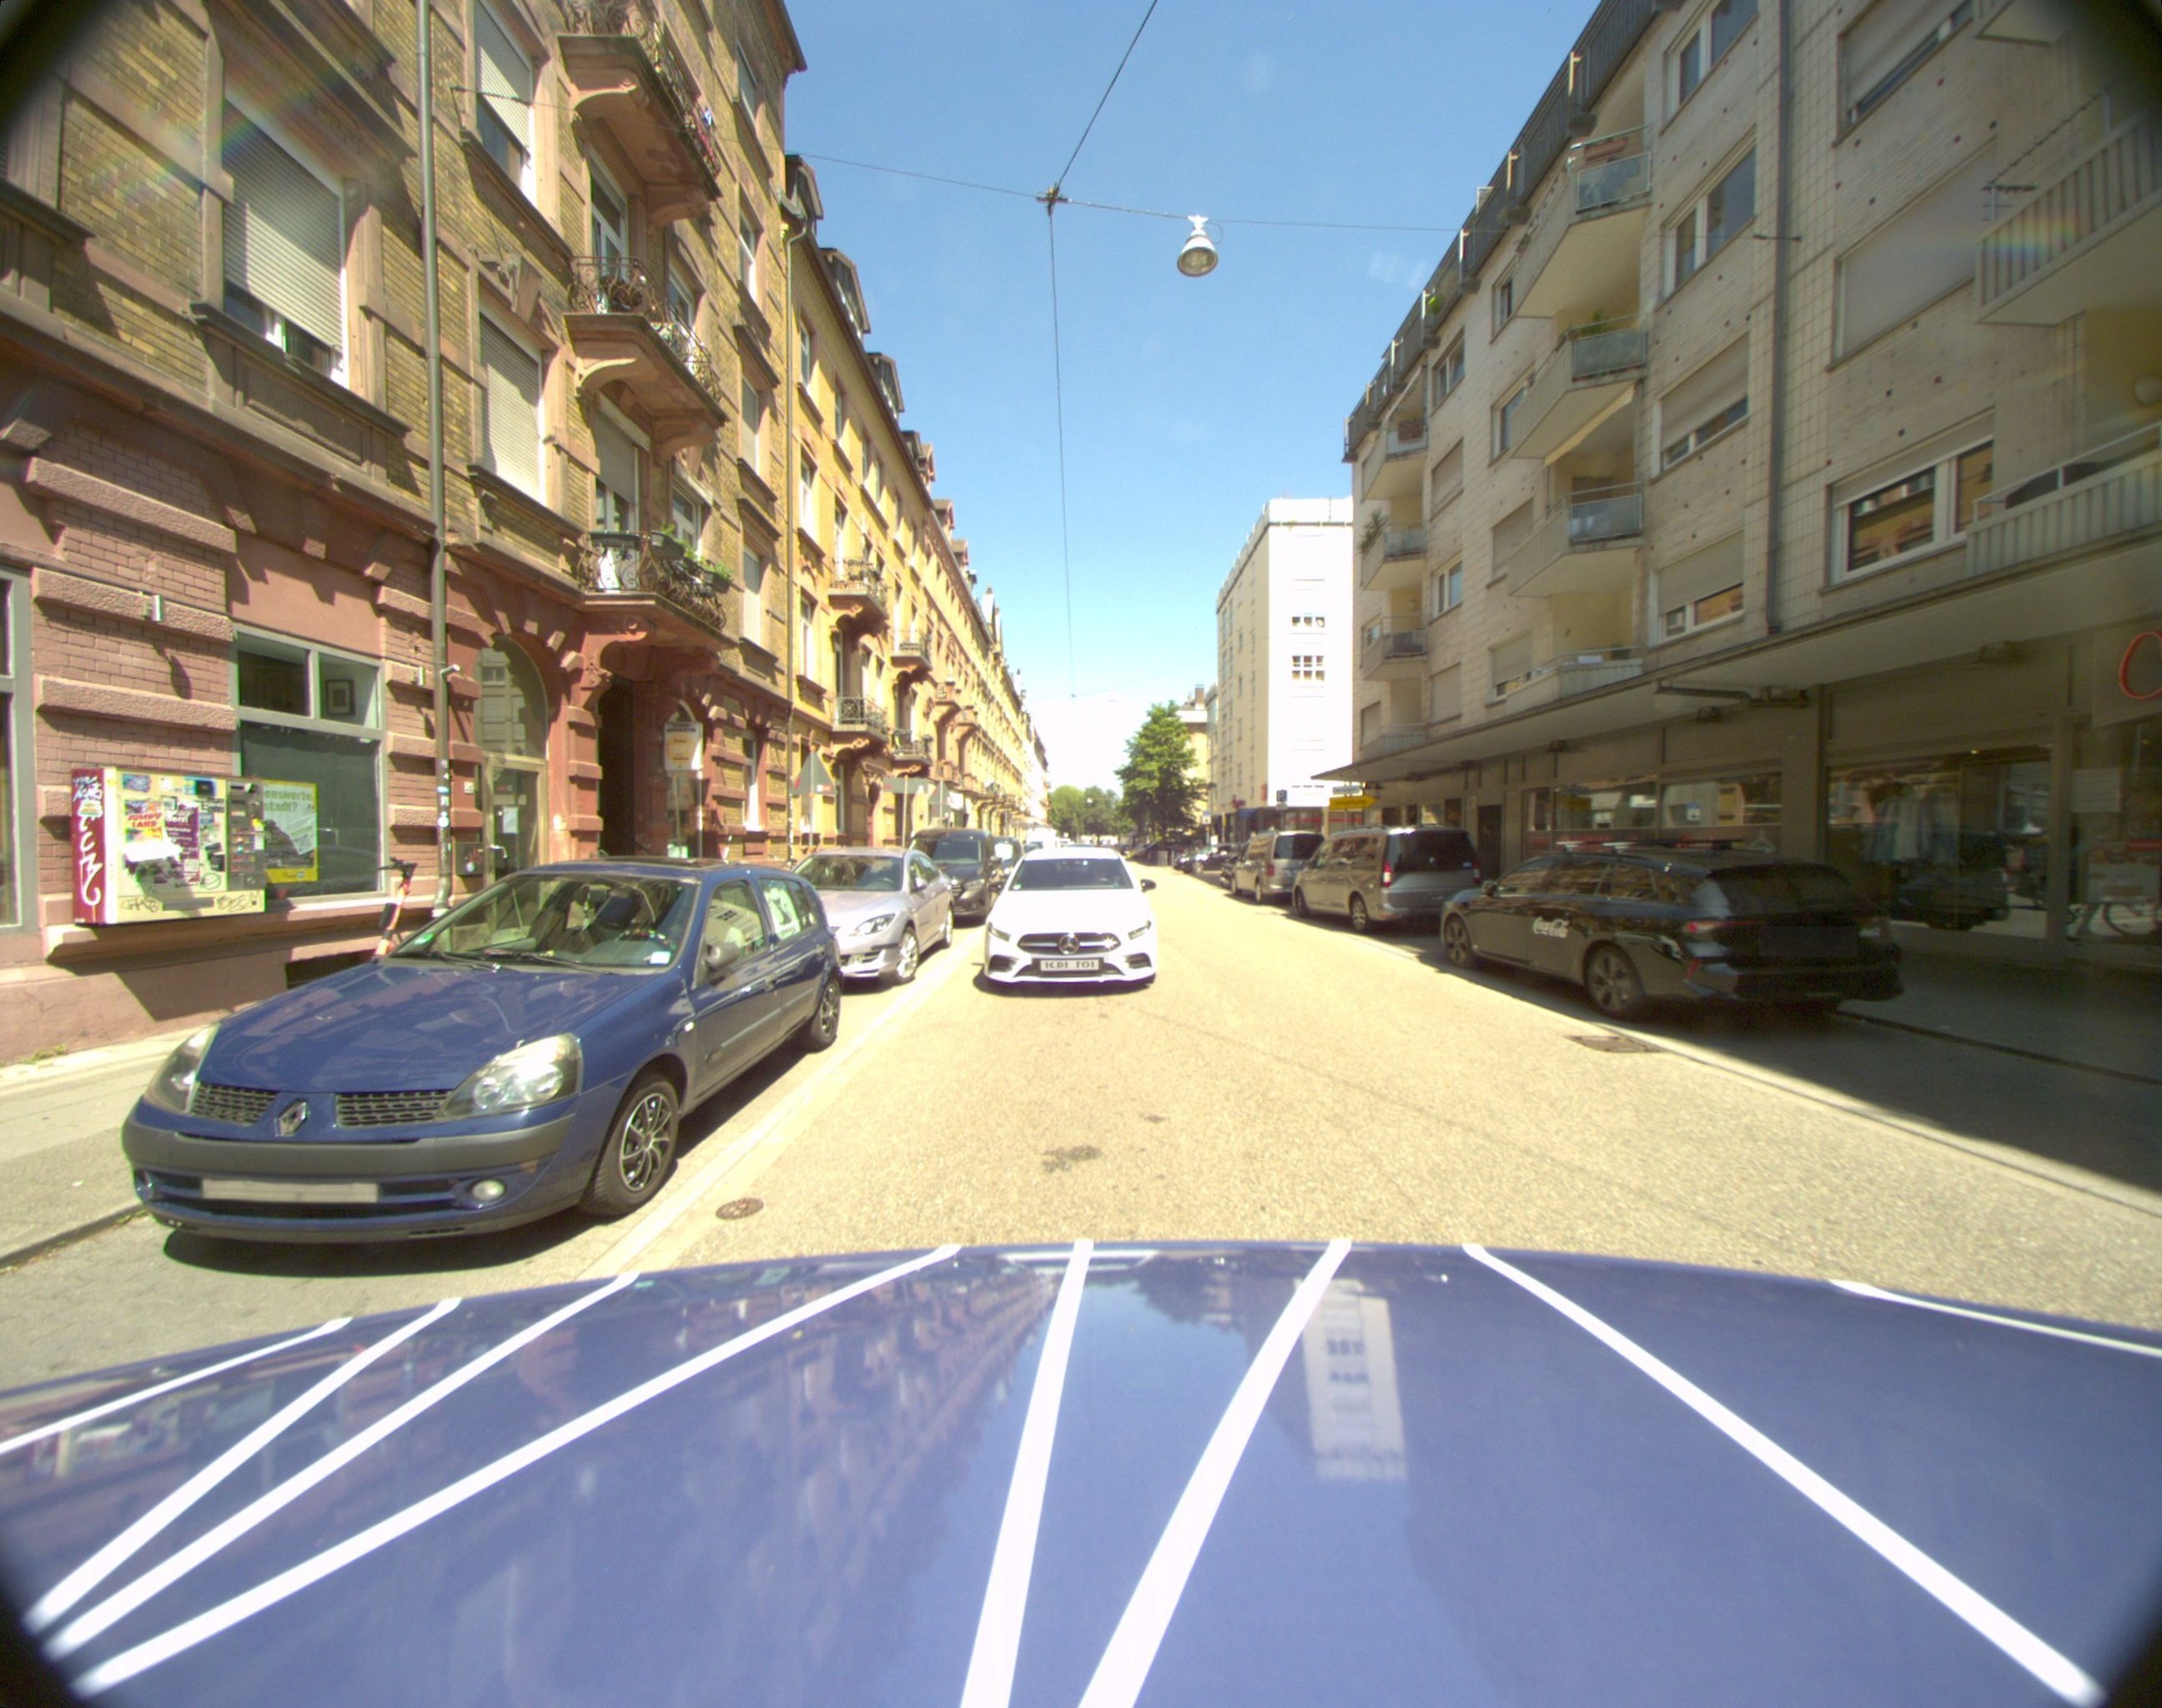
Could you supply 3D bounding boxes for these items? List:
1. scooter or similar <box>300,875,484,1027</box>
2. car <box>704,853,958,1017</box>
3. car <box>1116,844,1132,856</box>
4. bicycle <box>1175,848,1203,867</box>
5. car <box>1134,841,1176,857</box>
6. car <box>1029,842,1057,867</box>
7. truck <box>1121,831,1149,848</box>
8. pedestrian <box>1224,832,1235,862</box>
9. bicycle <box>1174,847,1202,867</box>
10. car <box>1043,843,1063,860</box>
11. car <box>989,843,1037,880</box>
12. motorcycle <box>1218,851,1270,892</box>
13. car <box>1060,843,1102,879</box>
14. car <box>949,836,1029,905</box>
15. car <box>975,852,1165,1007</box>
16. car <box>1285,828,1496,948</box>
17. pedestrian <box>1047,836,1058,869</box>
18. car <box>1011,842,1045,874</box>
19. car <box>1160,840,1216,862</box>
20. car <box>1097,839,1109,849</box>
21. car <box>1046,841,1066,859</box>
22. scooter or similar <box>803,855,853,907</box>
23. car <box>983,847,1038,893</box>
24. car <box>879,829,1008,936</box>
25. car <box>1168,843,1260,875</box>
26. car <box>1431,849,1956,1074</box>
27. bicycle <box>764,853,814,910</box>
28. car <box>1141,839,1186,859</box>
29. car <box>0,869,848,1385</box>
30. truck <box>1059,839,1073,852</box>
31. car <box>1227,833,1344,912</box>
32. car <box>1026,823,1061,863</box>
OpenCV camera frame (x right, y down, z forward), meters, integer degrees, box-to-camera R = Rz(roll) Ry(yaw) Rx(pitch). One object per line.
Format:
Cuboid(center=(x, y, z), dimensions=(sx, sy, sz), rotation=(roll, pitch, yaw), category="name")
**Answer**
Cuboid(center=(-6.072, 0.805, 6.776), dimensions=(0.293, 1.170, 1.272), rotation=(0, 1, 10), category="scooter or similar")
Cuboid(center=(-2.686, 0.761, 9.304), dimensions=(1.730, 1.424, 4.484), rotation=(1, 1, -2), category="car")
Cuboid(center=(6.039, -0.588, 106.425), dimensions=(1.998, 1.505, 3.999), rotation=(-2, 1, 0), category="car")
Cuboid(center=(6.497, 0.180, 45.704), dimensions=(1.608, 1.084, 0.371), rotation=(-2, 1, 6), category="bicycle")
Cuboid(center=(7.174, -0.483, 73.728), dimensions=(3.885, 1.487, 1.652), rotation=(0, 1, 0), category="car")
Cuboid(center=(-2.411, -0.005, 48.178), dimensions=(1.682, 1.528, 3.998), rotation=(-1, 1, -3), category="car")
Cuboid(center=(10.735, -2.859, 152.032), dimensions=(4.966, 3.270, 2.757), rotation=(-1, 2, -35), category="truck")
Cuboid(center=(10.392, -0.474, 53.306), dimensions=(0.608, 2.113, 0.496), rotation=(1, 2, 36), category="pedestrian")
Cuboid(center=(6.290, 0.165, 44.590), dimensions=(1.608, 1.084, 0.371), rotation=(-2, 1, 6), category="bicycle")
Cuboid(center=(-2.295, -0.219, 62.255), dimensions=(1.533, 1.293, 3.685), rotation=(-1, 1, -3), category="car")
Cuboid(center=(-2.846, 0.272, 32.699), dimensions=(1.830, 1.452, 3.998), rotation=(-1, 1, -2), category="car")
Cuboid(center=(5.217, 0.556, 24.346), dimensions=(1.552, 1.277, 0.394), rotation=(-1, 3, 32), category="motorcycle")
Cuboid(center=(0.020, 0.291, 34.830), dimensions=(1.780, 1.460, 3.999), rotation=(-2, 1, 0), category="car")
Cuboid(center=(-2.484, 0.373, 21.309), dimensions=(1.706, 1.724, 3.999), rotation=(-1, 1, 0), category="car")
Cuboid(center=(-0.132, 0.720, 9.387), dimensions=(1.814, 1.417, 4.240), rotation=(0, 1, -1), category="car")
Cuboid(center=(5.411, 0.491, 14.062), dimensions=(1.793, 1.801, 4.697), rotation=(-1, 1, -3), category="car")
Cuboid(center=(-1.677, -0.097, 44.837), dimensions=(0.635, 1.903, 0.370), rotation=(0, 1, 0), category="pedestrian")
Cuboid(center=(-2.568, 0.152, 37.446), dimensions=(1.603, 1.454, 3.688), rotation=(-1, 1, -3), category="car")
Cuboid(center=(7.809, -0.225, 55.617), dimensions=(3.885, 1.520, 1.652), rotation=(0, 1, 0), category="car")
Cuboid(center=(3.823, -1.716, 134.628), dimensions=(1.998, 1.674, 3.999), rotation=(-2, 1, 0), category="car")
Cuboid(center=(-2.314, -0.399, 69.423), dimensions=(1.682, 1.528, 3.998), rotation=(-1, 1, -3), category="car")
Cuboid(center=(-6.080, 0.617, 18.377), dimensions=(0.478, 1.146, 2.149), rotation=(-1, 1, 0), category="scooter or similar")
Cuboid(center=(-2.511, 0.500, 26.856), dimensions=(1.766, 1.441, 3.902), rotation=(-1, 1, -6), category="car")
Cuboid(center=(-2.510, 0.438, 14.883), dimensions=(1.829, 1.757, 4.336), rotation=(1, 1, -2), category="car")
Cuboid(center=(6.180, 0.204, 35.508), dimensions=(3.891, 1.417, 1.813), rotation=(0, 1, -8), category="car")
Cuboid(center=(5.339, 0.742, 7.578), dimensions=(1.674, 1.516, 4.463), rotation=(-1, 1, 1), category="car")
Cuboid(center=(-6.047, 0.536, 15.823), dimensions=(0.354, 1.097, 1.755), rotation=(0, 1, 0), category="bicycle")
Cuboid(center=(7.401, -0.478, 68.135), dimensions=(3.885, 1.737, 1.652), rotation=(0, 1, 0), category="car")
Cuboid(center=(-2.632, 0.879, 4.141), dimensions=(1.631, 1.424, 3.659), rotation=(1, 1, -1), category="car")
Cuboid(center=(-2.188, -1.298, 115.090), dimensions=(1.998, 2.002, 4.901), rotation=(0, 1, 0), category="truck")
Cuboid(center=(5.296, 0.401, 20.351), dimensions=(1.793, 1.818, 4.899), rotation=(-1, 1, 0), category="car")
Cuboid(center=(-2.600, -0.803, 53.853), dimensions=(2.068, 2.687, 5.037), rotation=(-2, 1, 0), category="car")
